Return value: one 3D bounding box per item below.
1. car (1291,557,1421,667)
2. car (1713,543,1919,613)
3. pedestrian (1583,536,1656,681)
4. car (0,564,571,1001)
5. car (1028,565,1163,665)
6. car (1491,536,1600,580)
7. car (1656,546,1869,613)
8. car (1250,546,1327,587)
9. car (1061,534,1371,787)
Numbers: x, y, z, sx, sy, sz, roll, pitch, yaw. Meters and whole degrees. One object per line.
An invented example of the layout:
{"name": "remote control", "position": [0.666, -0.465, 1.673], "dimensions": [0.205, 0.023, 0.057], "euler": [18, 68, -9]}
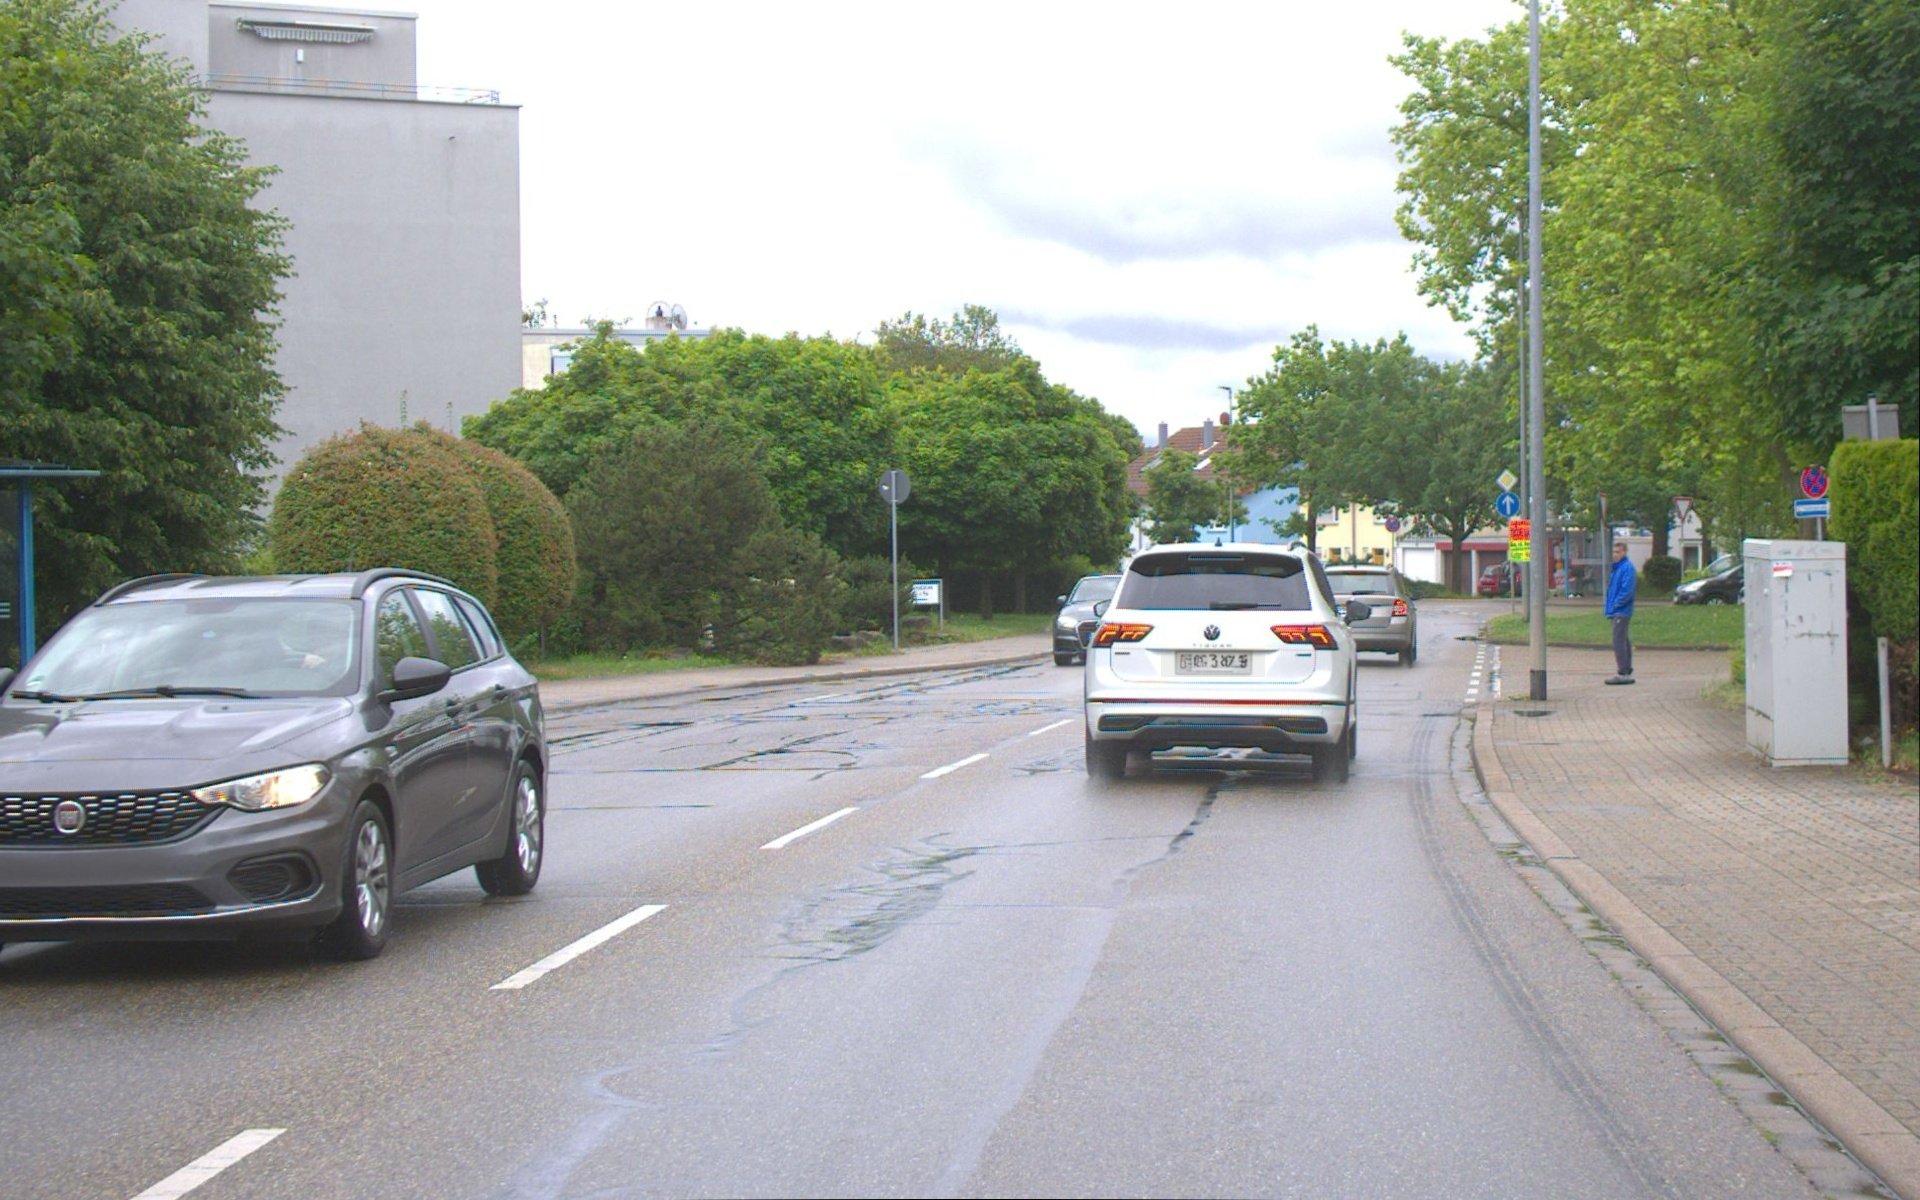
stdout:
{"name": "car", "position": [5.805, 0.144, 50.777], "dimensions": [1.769, 1.546, 3.999], "euler": [-1, 1, 5]}
{"name": "car", "position": [19.369, -0.503, 77.163], "dimensions": [4.573, 1.438, 1.764], "euler": [-1, 1, 4]}
{"name": "pedestrian", "position": [7.646, 0.093, 39.884], "dimensions": [0.589, 1.660, 0.776], "euler": [1, 1, -7]}
{"name": "car", "position": [-2.975, 0.641, 14.384], "dimensions": [1.776, 1.468, 4.250], "euler": [-2, 1, 6]}
{"name": "car", "position": [2.157, 0.215, 53.846], "dimensions": [1.674, 1.438, 3.999], "euler": [-1, 1, 8]}
{"name": "car", "position": [23.743, -1.714, 139.336], "dimensions": [3.986, 1.715, 1.924], "euler": [-1, 1, -27]}
{"name": "car", "position": [18.615, -0.490, 79.882], "dimensions": [4.573, 1.438, 1.764], "euler": [-1, 1, 4]}
{"name": "car", "position": [11.847, -1.220, 124.286], "dimensions": [1.993, 1.415, 4.001], "euler": [0, 1, -6]}
{"name": "car", "position": [1.934, 0.378, 24.871], "dimensions": [1.866, 1.645, 3.999], "euler": [-1, 1, 9]}
